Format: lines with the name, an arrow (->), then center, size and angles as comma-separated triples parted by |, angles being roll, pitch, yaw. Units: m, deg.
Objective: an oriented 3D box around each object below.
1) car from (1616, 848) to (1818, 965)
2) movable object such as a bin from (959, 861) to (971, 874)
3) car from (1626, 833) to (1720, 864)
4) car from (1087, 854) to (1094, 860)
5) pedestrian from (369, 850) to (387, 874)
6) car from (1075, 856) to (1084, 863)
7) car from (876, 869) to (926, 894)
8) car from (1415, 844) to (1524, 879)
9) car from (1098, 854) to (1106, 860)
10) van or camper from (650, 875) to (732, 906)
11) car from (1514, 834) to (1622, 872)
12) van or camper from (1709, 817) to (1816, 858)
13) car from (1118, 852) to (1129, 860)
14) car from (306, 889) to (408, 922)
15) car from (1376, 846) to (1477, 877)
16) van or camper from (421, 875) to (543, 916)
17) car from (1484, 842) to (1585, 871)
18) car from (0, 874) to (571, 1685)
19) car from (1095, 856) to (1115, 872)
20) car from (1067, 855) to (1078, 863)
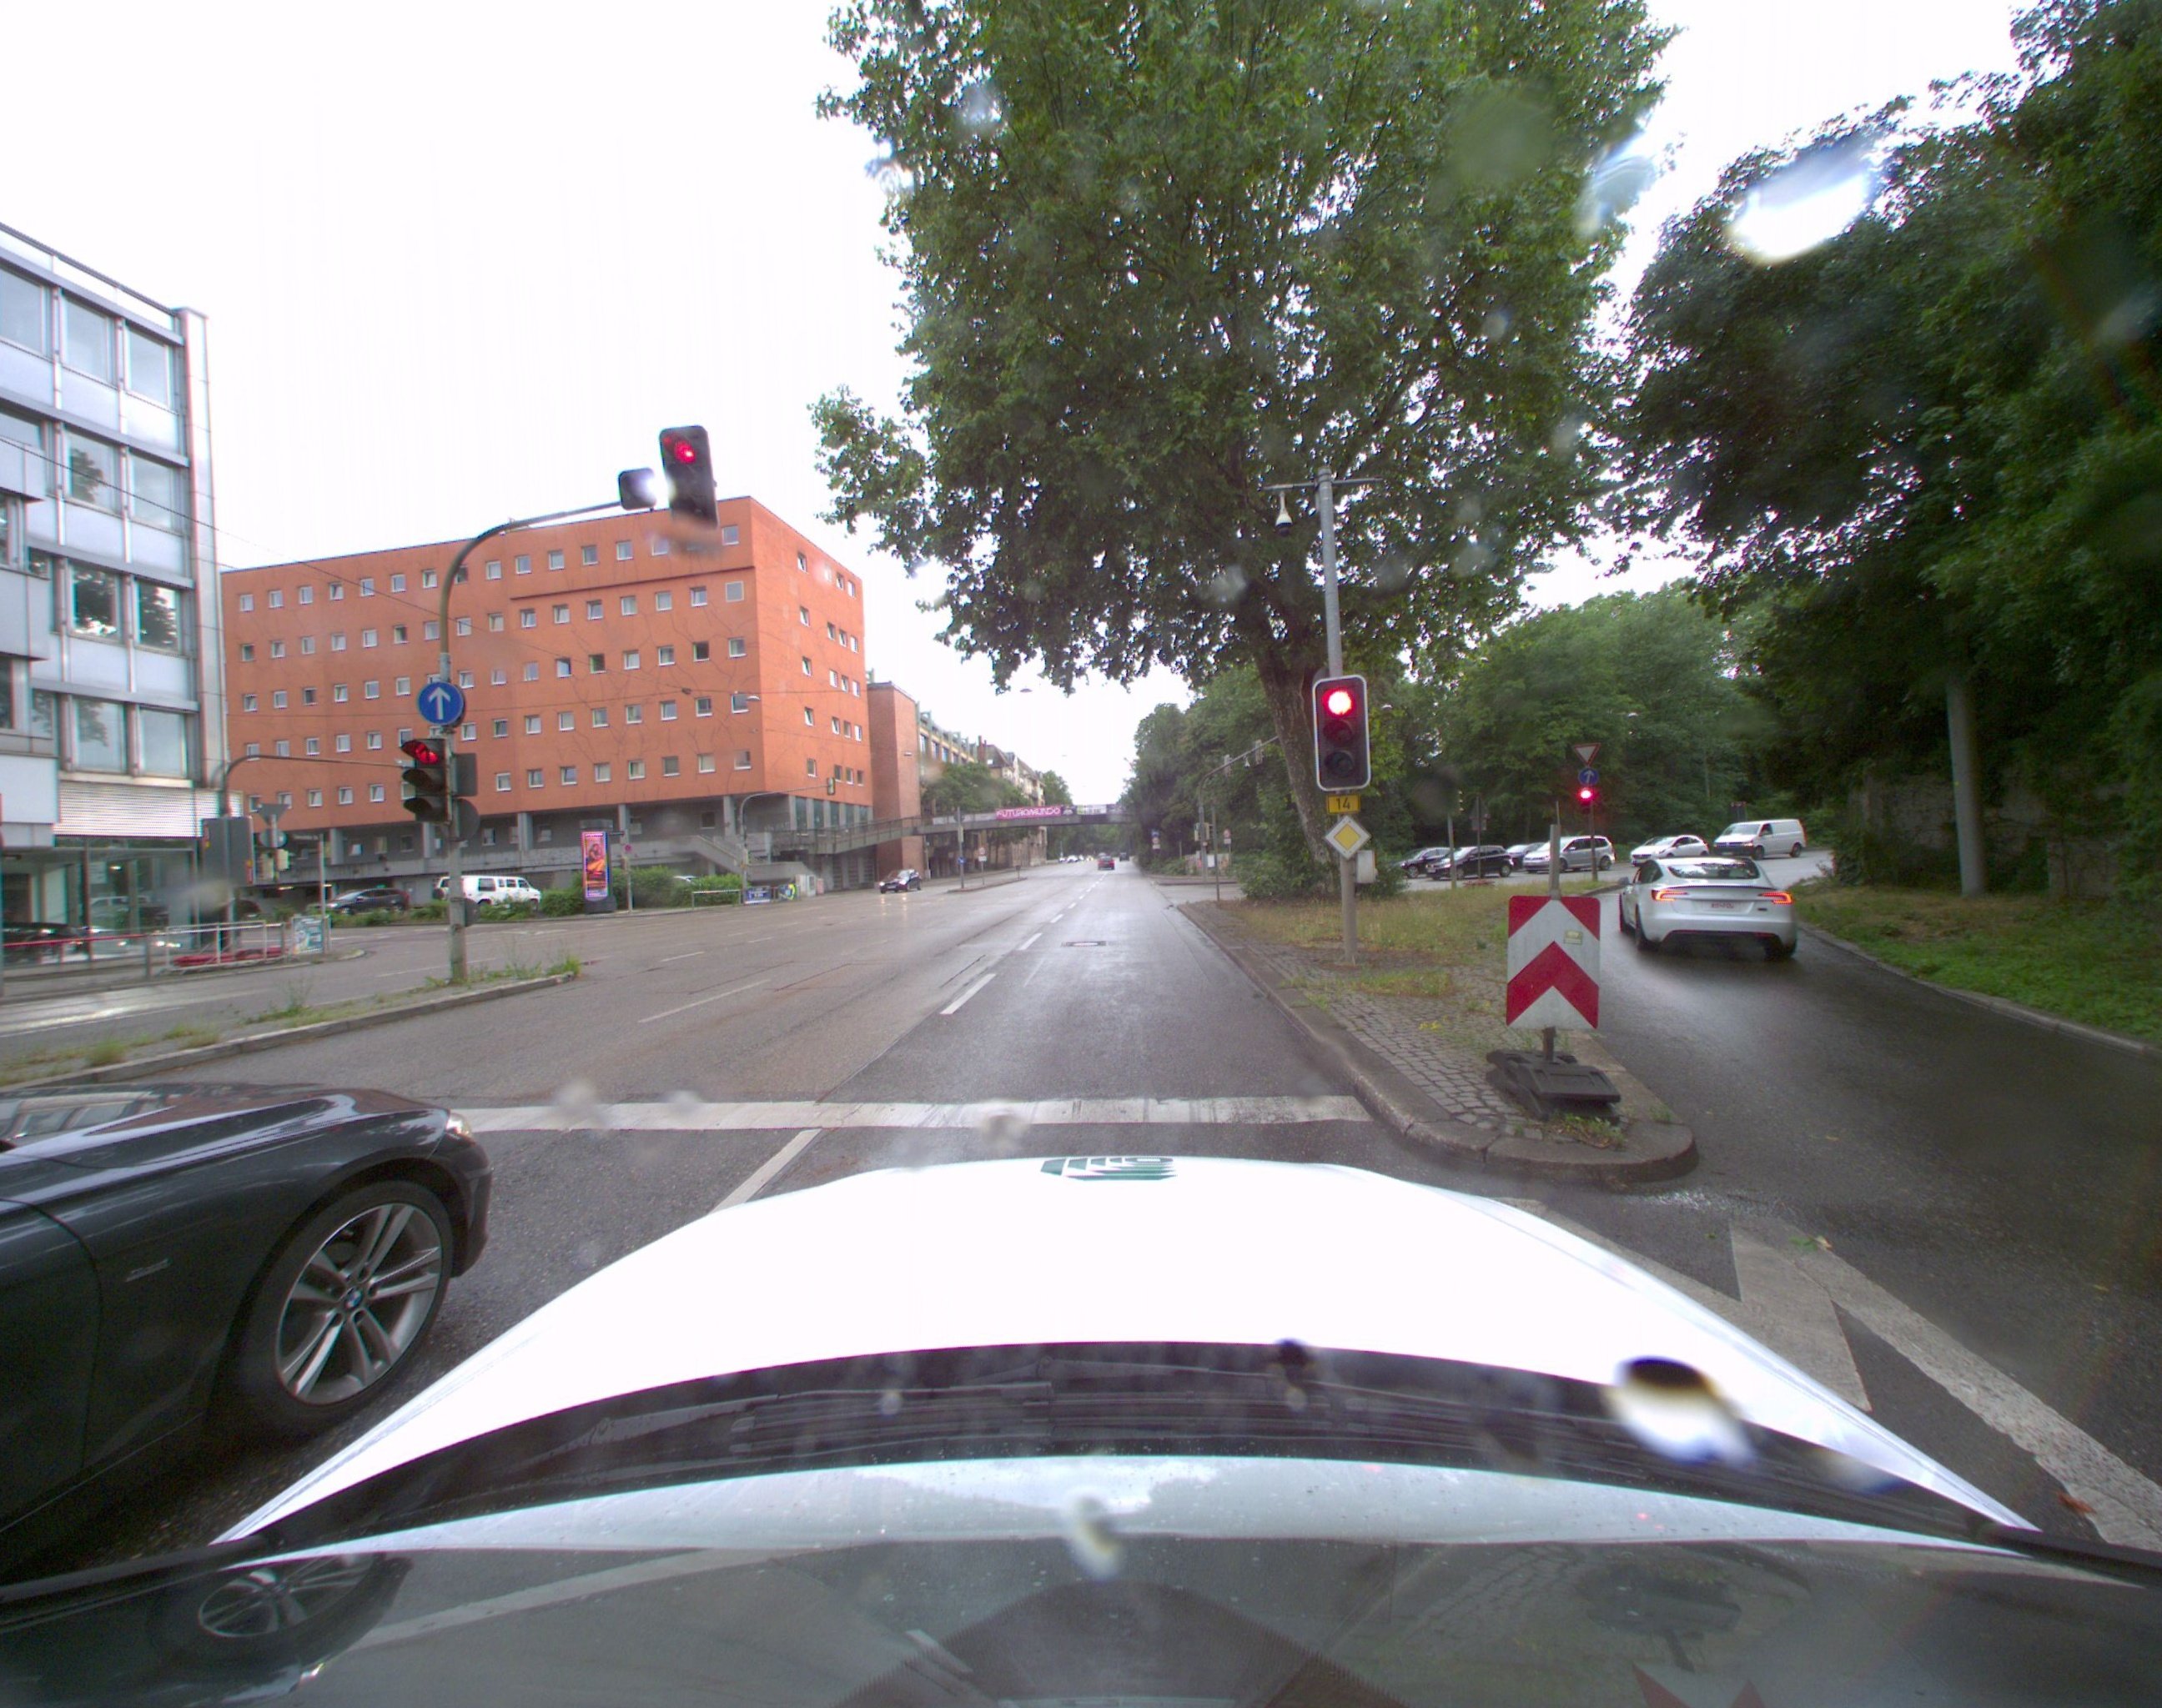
car -> 9.995, 0.669, 13.184 | 1.835, 1.448, 4.647 | 2, 2, 29
movable object such as a bin -> -15.288, 1.777, 107.571 | 1.277, 1.518, 1.274 | -3, 0, 3
car -> 28.847, -0.247, 39.712 | 3.857, 1.461, 1.650 | 0, -1, -14
car -> 2.768, 0.829, 229.095 | 1.676, 1.436, 3.865 | -3, -1, 3
pedestrian -> -55.043, 0.640, 63.772 | 0.757, 1.839, 0.727 | -1, -1, 11
car -> -0.367, 1.385, 203.089 | 1.701, 1.464, 4.047 | -3, -1, 5
car -> -11.239, 1.714, 51.055 | 1.677, 1.419, 4.222 | -4, -2, 7
car -> 17.164, 0.324, 36.024 | 4.192, 1.460, 1.784 | 0, -1, -14
car -> 6.255, 0.959, 244.443 | 1.886, 1.610, 4.450 | -2, -1, -4
van or camper -> -23.264, 2.168, 48.640 | 3.965, 1.627, 1.918 | -3, 0, 8
car -> 22.603, -0.048, 37.819 | 4.203, 1.680, 1.898 | 0, -1, -14
van or camper -> 34.884, -0.826, 41.699 | 4.862, 1.947, 1.896 | -1, -1, -18
car -> 7.718, 0.348, 147.071 | 1.835, 1.453, 3.778 | 0, -1, 2
car -> -40.244, 2.815, 45.406 | 1.699, 1.612, 4.097 | 0, -1, 9
car -> 16.855, 0.369, 39.801 | 4.205, 1.440, 1.941 | 0, -1, -14
van or camper -> -32.834, 2.219, 44.913 | 2.113, 1.977, 5.466 | 0, -1, 9
car -> 22.949, 0.131, 41.214 | 4.438, 1.402, 1.821 | 0, -1, -14
car -> -2.933, 0.837, 0.838 | 1.769, 1.458, 4.480 | -3, -1, 3
car -> 2.597, 1.073, 89.386 | 1.998, 1.643, 4.376 | -3, 0, 0
car -> -1.773, 1.112, 177.865 | 1.881, 1.610, 4.461 | -3, -1, 4
